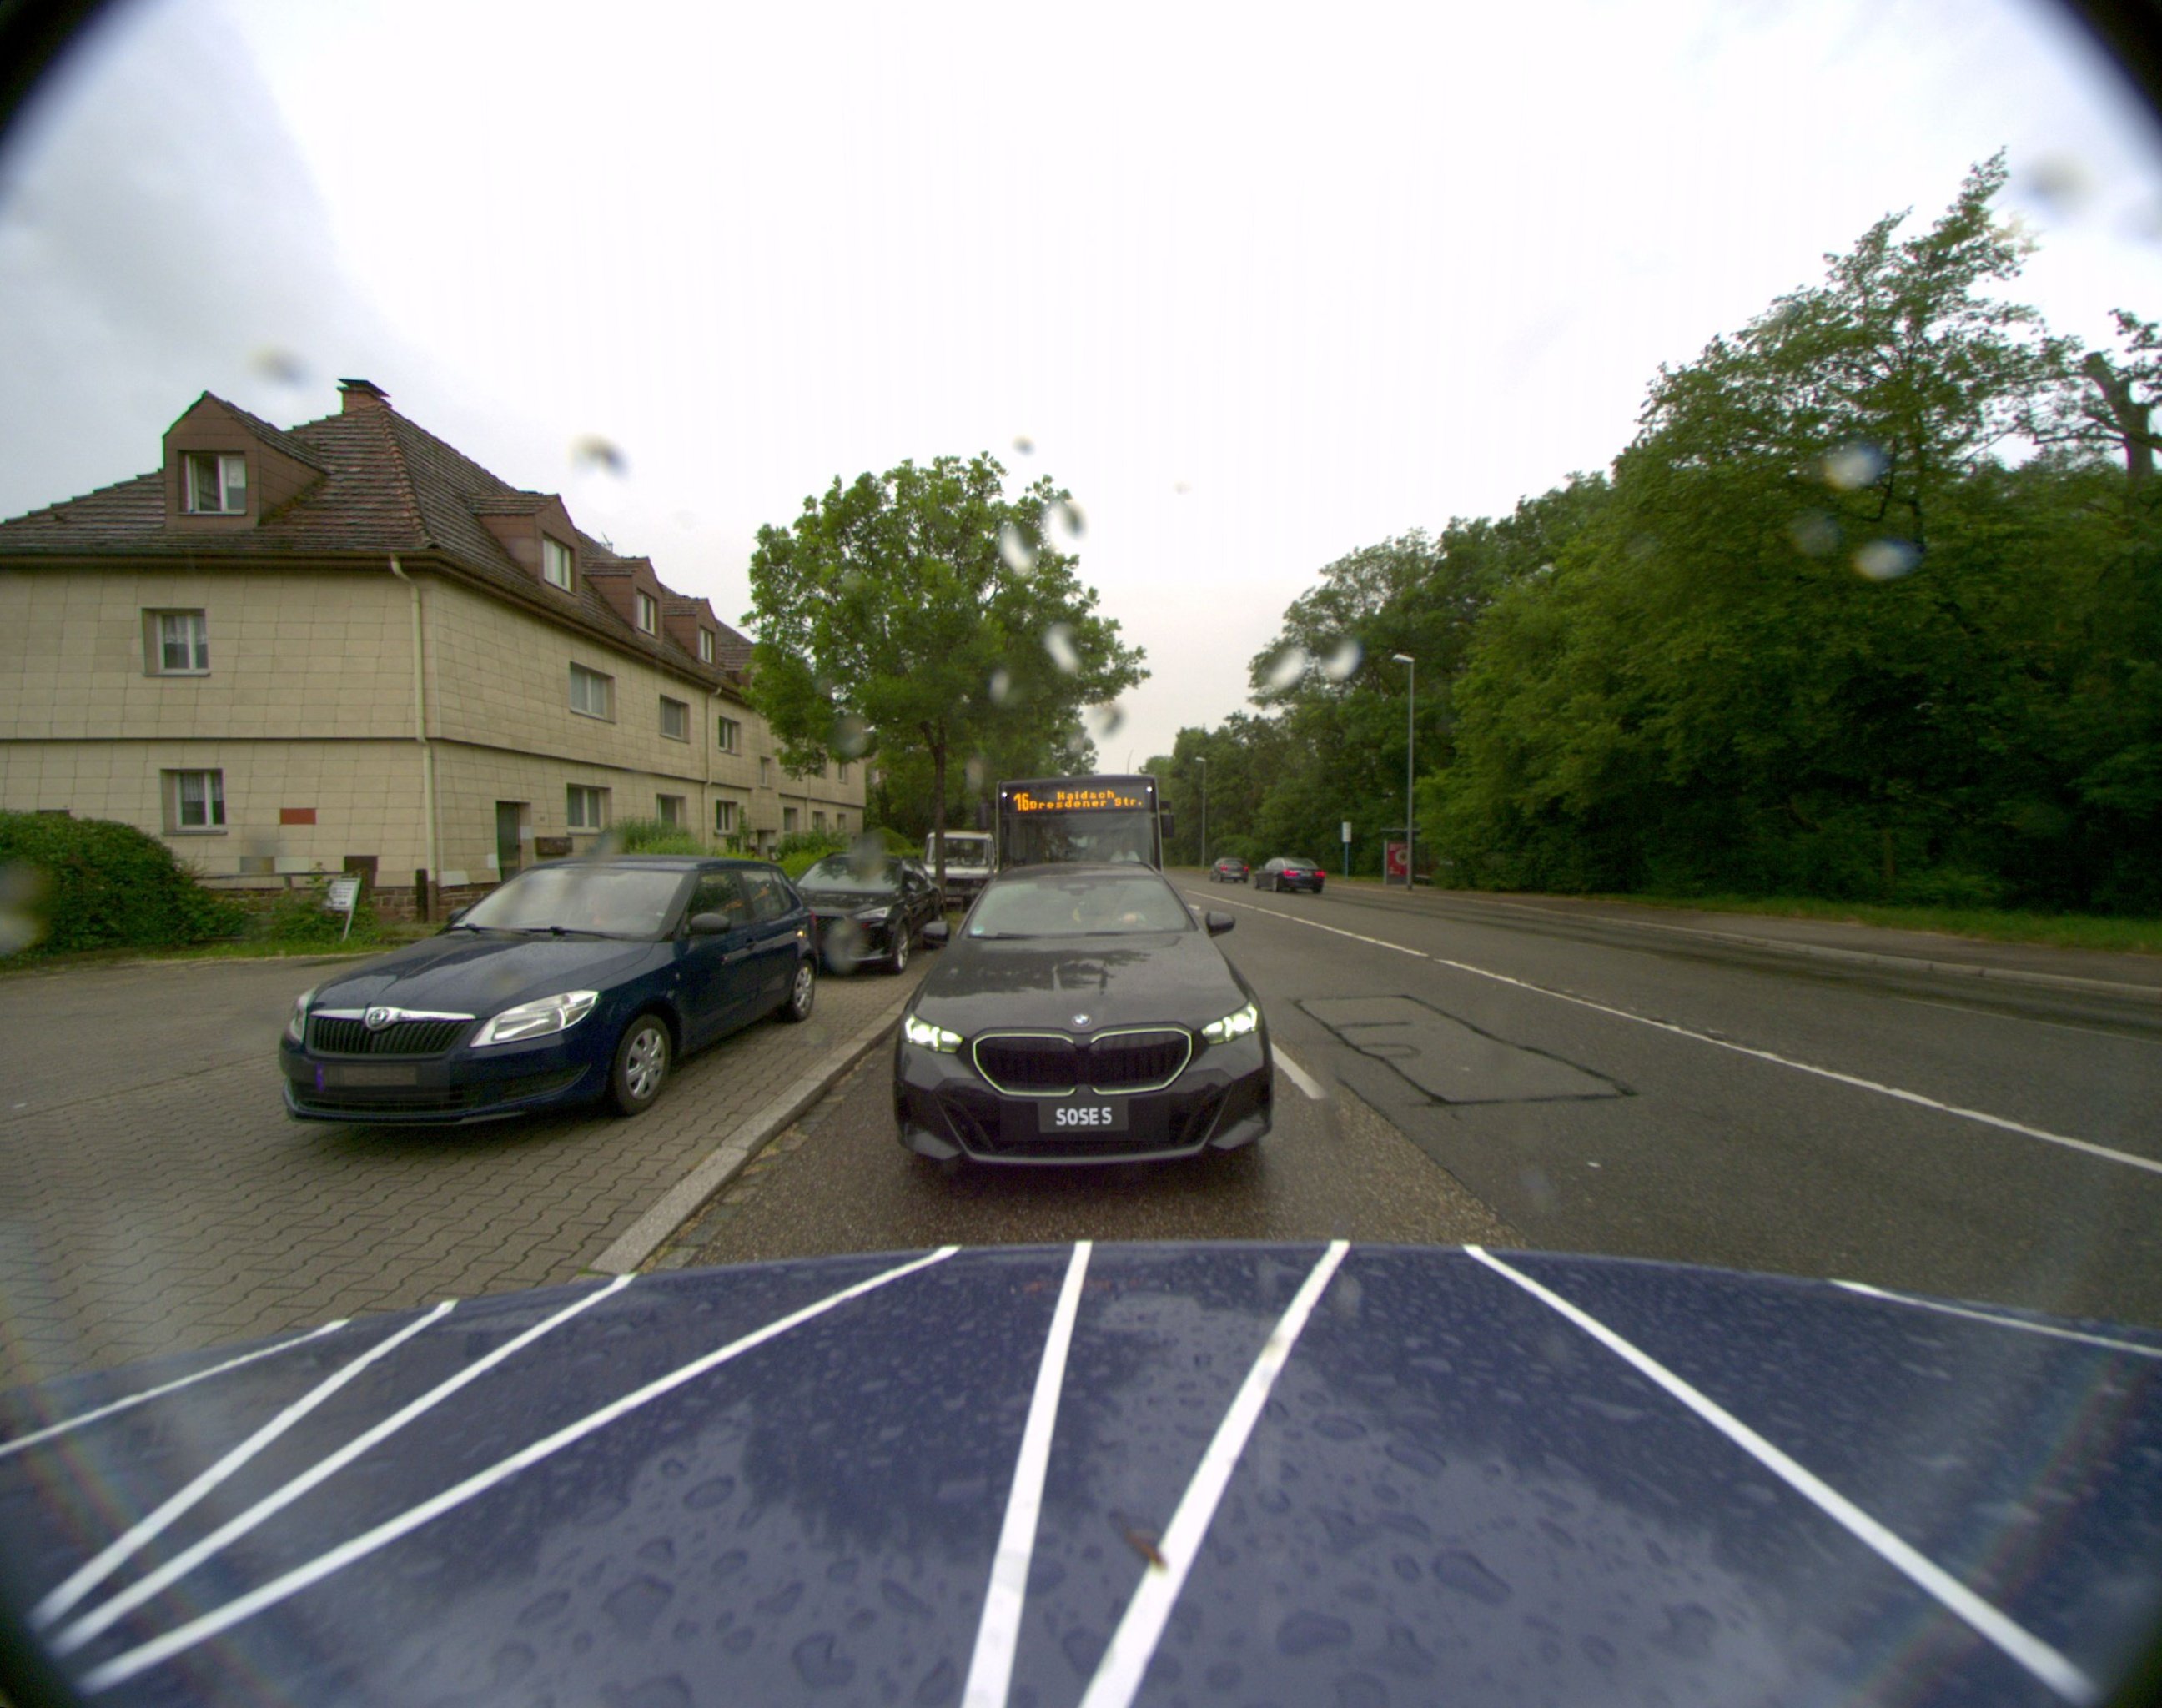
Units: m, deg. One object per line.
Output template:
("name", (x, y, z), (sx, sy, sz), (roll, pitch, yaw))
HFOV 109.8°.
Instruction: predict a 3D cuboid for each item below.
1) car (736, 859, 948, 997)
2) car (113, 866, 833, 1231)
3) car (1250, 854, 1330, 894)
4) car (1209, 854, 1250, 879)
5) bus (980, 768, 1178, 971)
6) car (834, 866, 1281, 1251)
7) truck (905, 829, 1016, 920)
("car", (-3.056, 0.857, 10.593), (1.720, 1.455, 3.999), (1, 1, -1))
("car", (-3.256, 0.865, 5.247), (1.720, 1.416, 3.999), (1, 1, 1))
("car", (8.873, 0.811, 32.698), (1.915, 1.445, 4.947), (3, 1, -1))
("car", (8.763, 0.717, 45.080), (1.598, 1.420, 3.905), (1, 0, -1))
("bus", (0.099, 0.174, 15.734), (2.767, 2.858, 9.403), (-2, 1, 2))
("car", (-0.074, 0.934, 5.486), (1.882, 1.520, 4.316), (-3, 0, 1))
("truck", (-3.132, 0.494, 21.016), (1.998, 2.184, 5.756), (0, 0, 2))
